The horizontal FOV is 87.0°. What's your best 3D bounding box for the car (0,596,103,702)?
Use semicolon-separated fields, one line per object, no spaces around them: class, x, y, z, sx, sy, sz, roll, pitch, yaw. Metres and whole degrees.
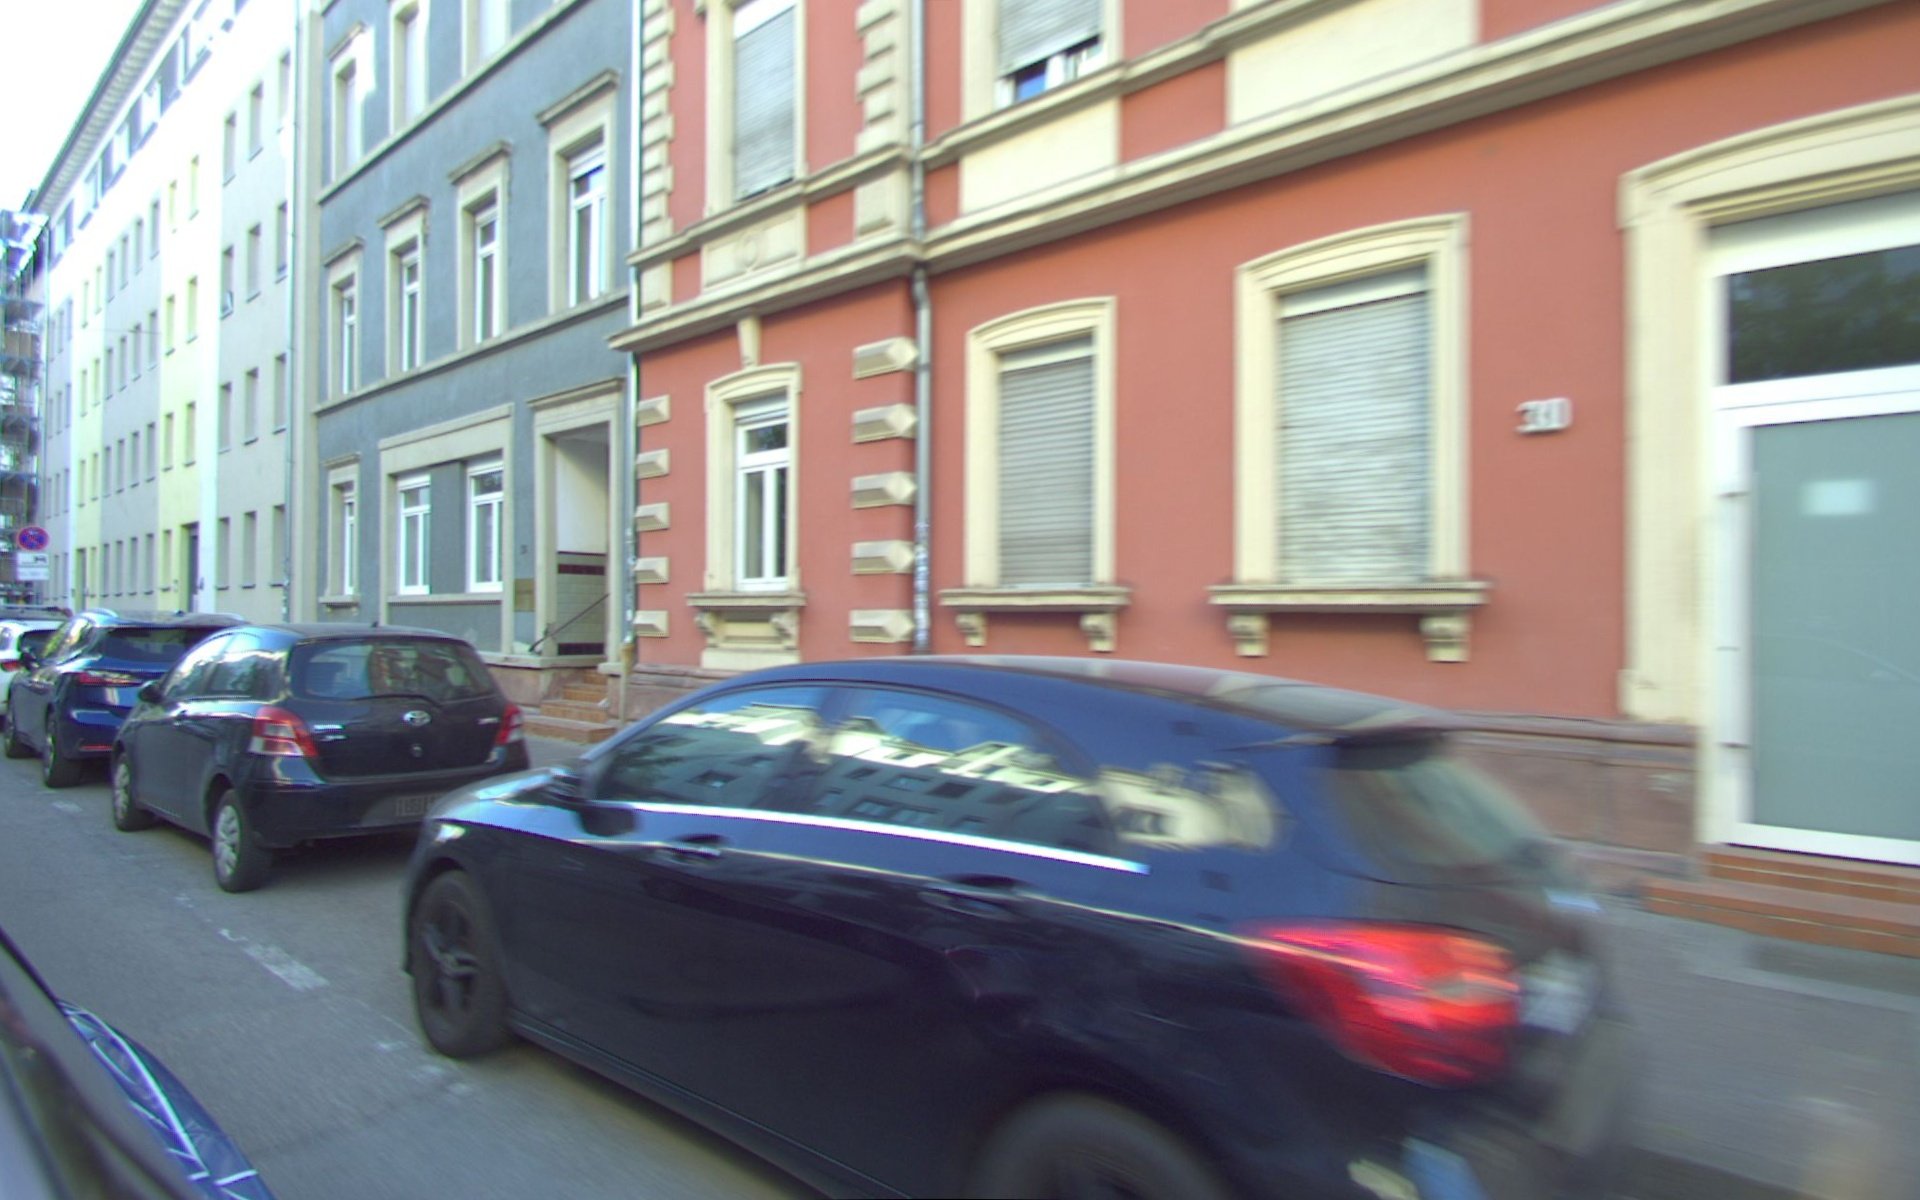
car;-16.728;0.824;17.659;4.465;1.676;1.901;-1;-4;40

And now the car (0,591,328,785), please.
car;-8.330;0.792;10.322;4.263;1.572;1.901;-1;-4;40

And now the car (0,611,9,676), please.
car;-24.424;0.993;24.326;4.418;1.500;1.760;0;-3;40

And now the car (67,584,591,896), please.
car;-4.651;0.781;7.212;4.237;1.572;1.882;-1;-4;40

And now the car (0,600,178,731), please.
car;-12.772;0.863;14.205;4.263;1.572;1.901;-1;-4;40

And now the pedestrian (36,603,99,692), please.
pedestrian;-18.589;0.972;21.082;1.091;1.804;0.781;-1;-3;41

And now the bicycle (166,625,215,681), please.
bicycle;-15.826;1.063;20.800;1.751;1.082;0.446;-1;0;41

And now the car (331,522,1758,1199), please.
car;-0.157;0.734;3.278;4.263;1.495;1.901;-1;-4;40
